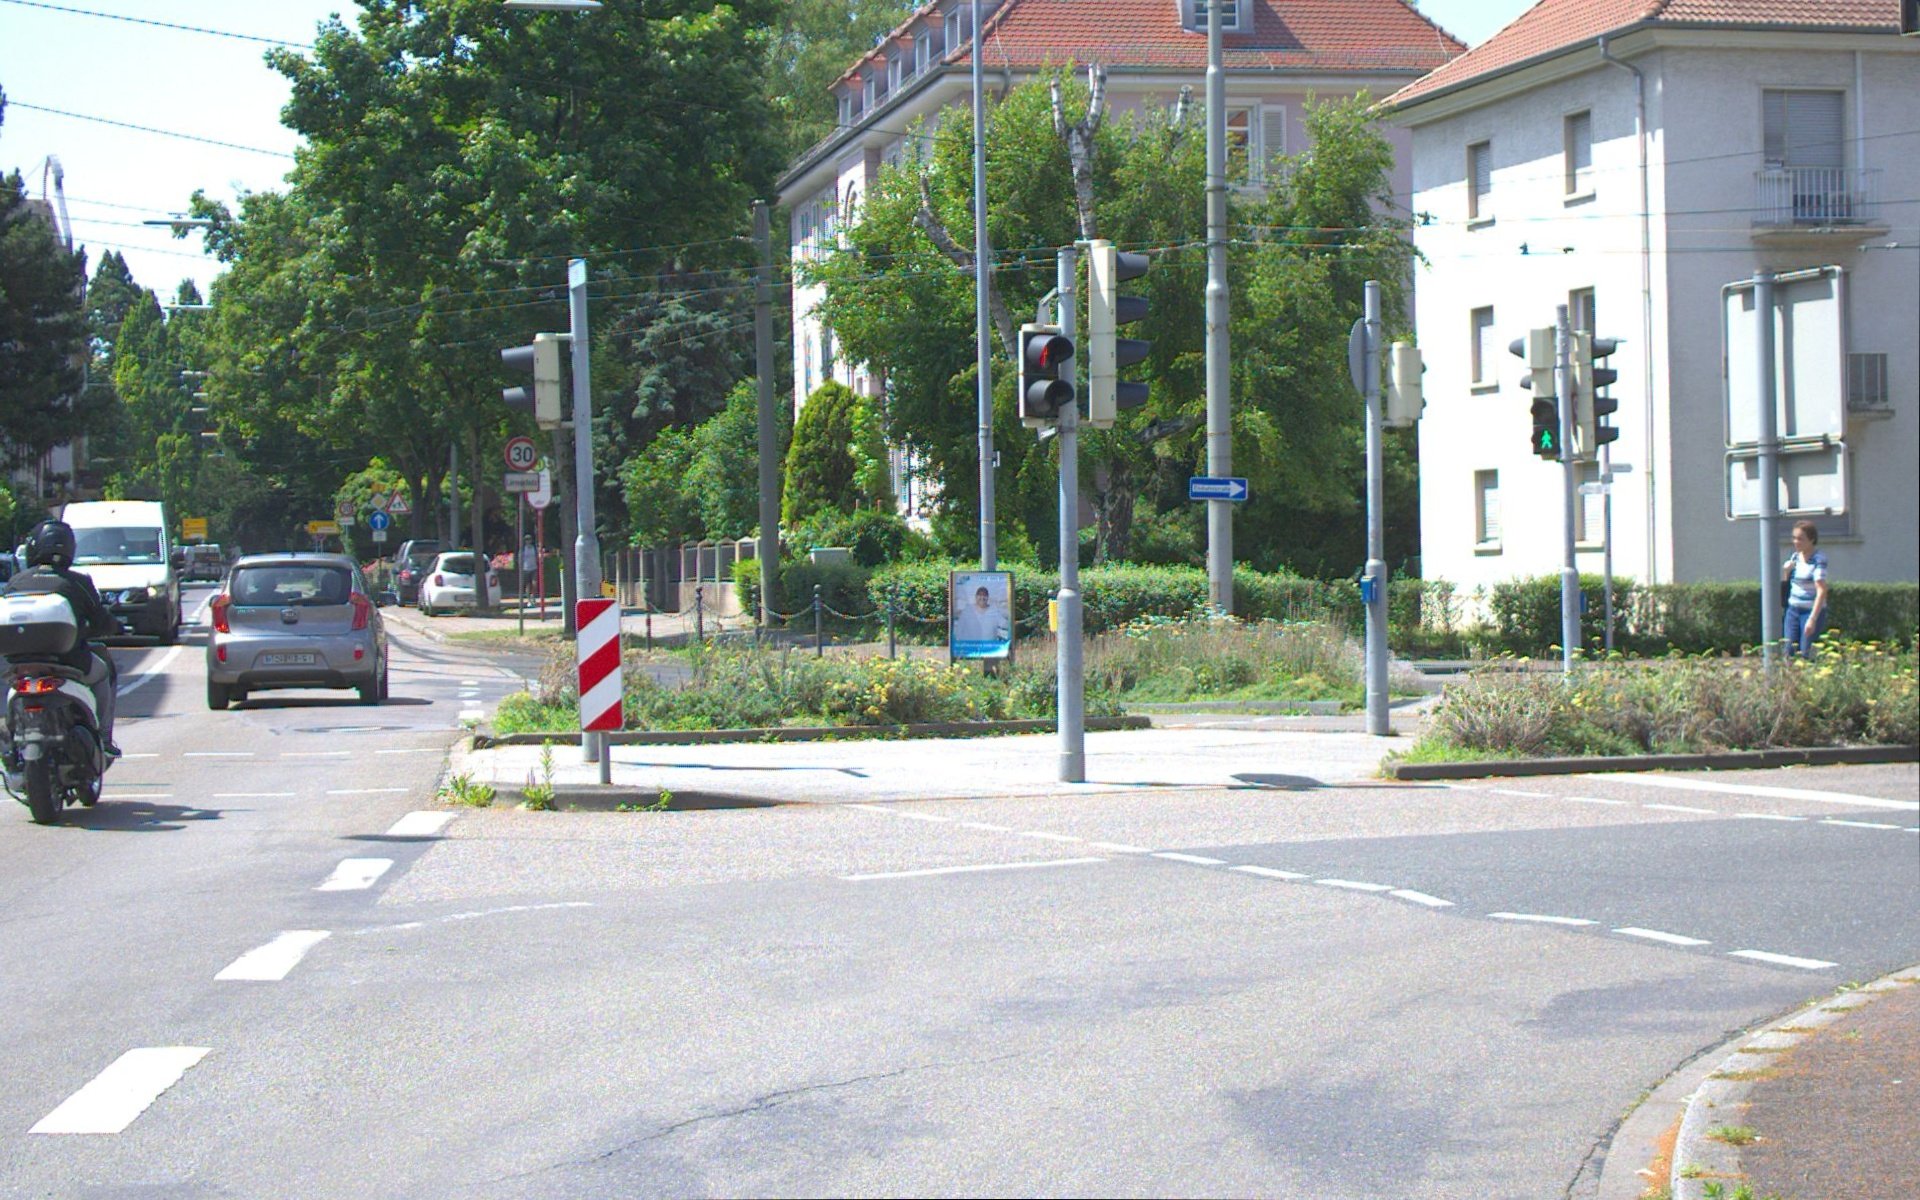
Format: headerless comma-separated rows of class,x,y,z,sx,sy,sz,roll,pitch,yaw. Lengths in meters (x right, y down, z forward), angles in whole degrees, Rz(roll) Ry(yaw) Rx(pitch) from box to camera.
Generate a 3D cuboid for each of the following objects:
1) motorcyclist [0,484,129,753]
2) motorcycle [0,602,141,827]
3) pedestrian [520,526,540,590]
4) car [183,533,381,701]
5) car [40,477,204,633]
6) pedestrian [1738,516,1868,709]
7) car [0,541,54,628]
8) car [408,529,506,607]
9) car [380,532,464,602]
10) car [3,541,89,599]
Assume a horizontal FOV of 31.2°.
motorcyclist,-4.994,0.089,18.922,0.711,1.440,1.019,0,1,-8
motorcycle,-4.994,0.595,18.951,0.711,1.130,2.198,0,1,-8
pedestrian,-11.253,-1.099,90.019,0.508,1.650,0.466,0,1,-8
car,-6.692,0.128,34.022,1.798,1.552,4.038,0,1,-11
car,-14.976,-0.807,61.836,2.215,2.492,7.556,-4,1,-10
pedestrian,7.537,0.103,30.748,0.835,1.699,0.762,-1,1,-28
car,-19.896,-0.356,71.128,1.798,1.712,4.038,3,0,-9
car,-12.023,-0.779,82.063,1.993,1.801,4.001,0,1,-13
car,-14.925,-0.929,95.232,1.993,1.900,4.001,0,1,-13
car,-26.087,-0.863,98.202,1.798,1.552,4.038,3,0,-7
